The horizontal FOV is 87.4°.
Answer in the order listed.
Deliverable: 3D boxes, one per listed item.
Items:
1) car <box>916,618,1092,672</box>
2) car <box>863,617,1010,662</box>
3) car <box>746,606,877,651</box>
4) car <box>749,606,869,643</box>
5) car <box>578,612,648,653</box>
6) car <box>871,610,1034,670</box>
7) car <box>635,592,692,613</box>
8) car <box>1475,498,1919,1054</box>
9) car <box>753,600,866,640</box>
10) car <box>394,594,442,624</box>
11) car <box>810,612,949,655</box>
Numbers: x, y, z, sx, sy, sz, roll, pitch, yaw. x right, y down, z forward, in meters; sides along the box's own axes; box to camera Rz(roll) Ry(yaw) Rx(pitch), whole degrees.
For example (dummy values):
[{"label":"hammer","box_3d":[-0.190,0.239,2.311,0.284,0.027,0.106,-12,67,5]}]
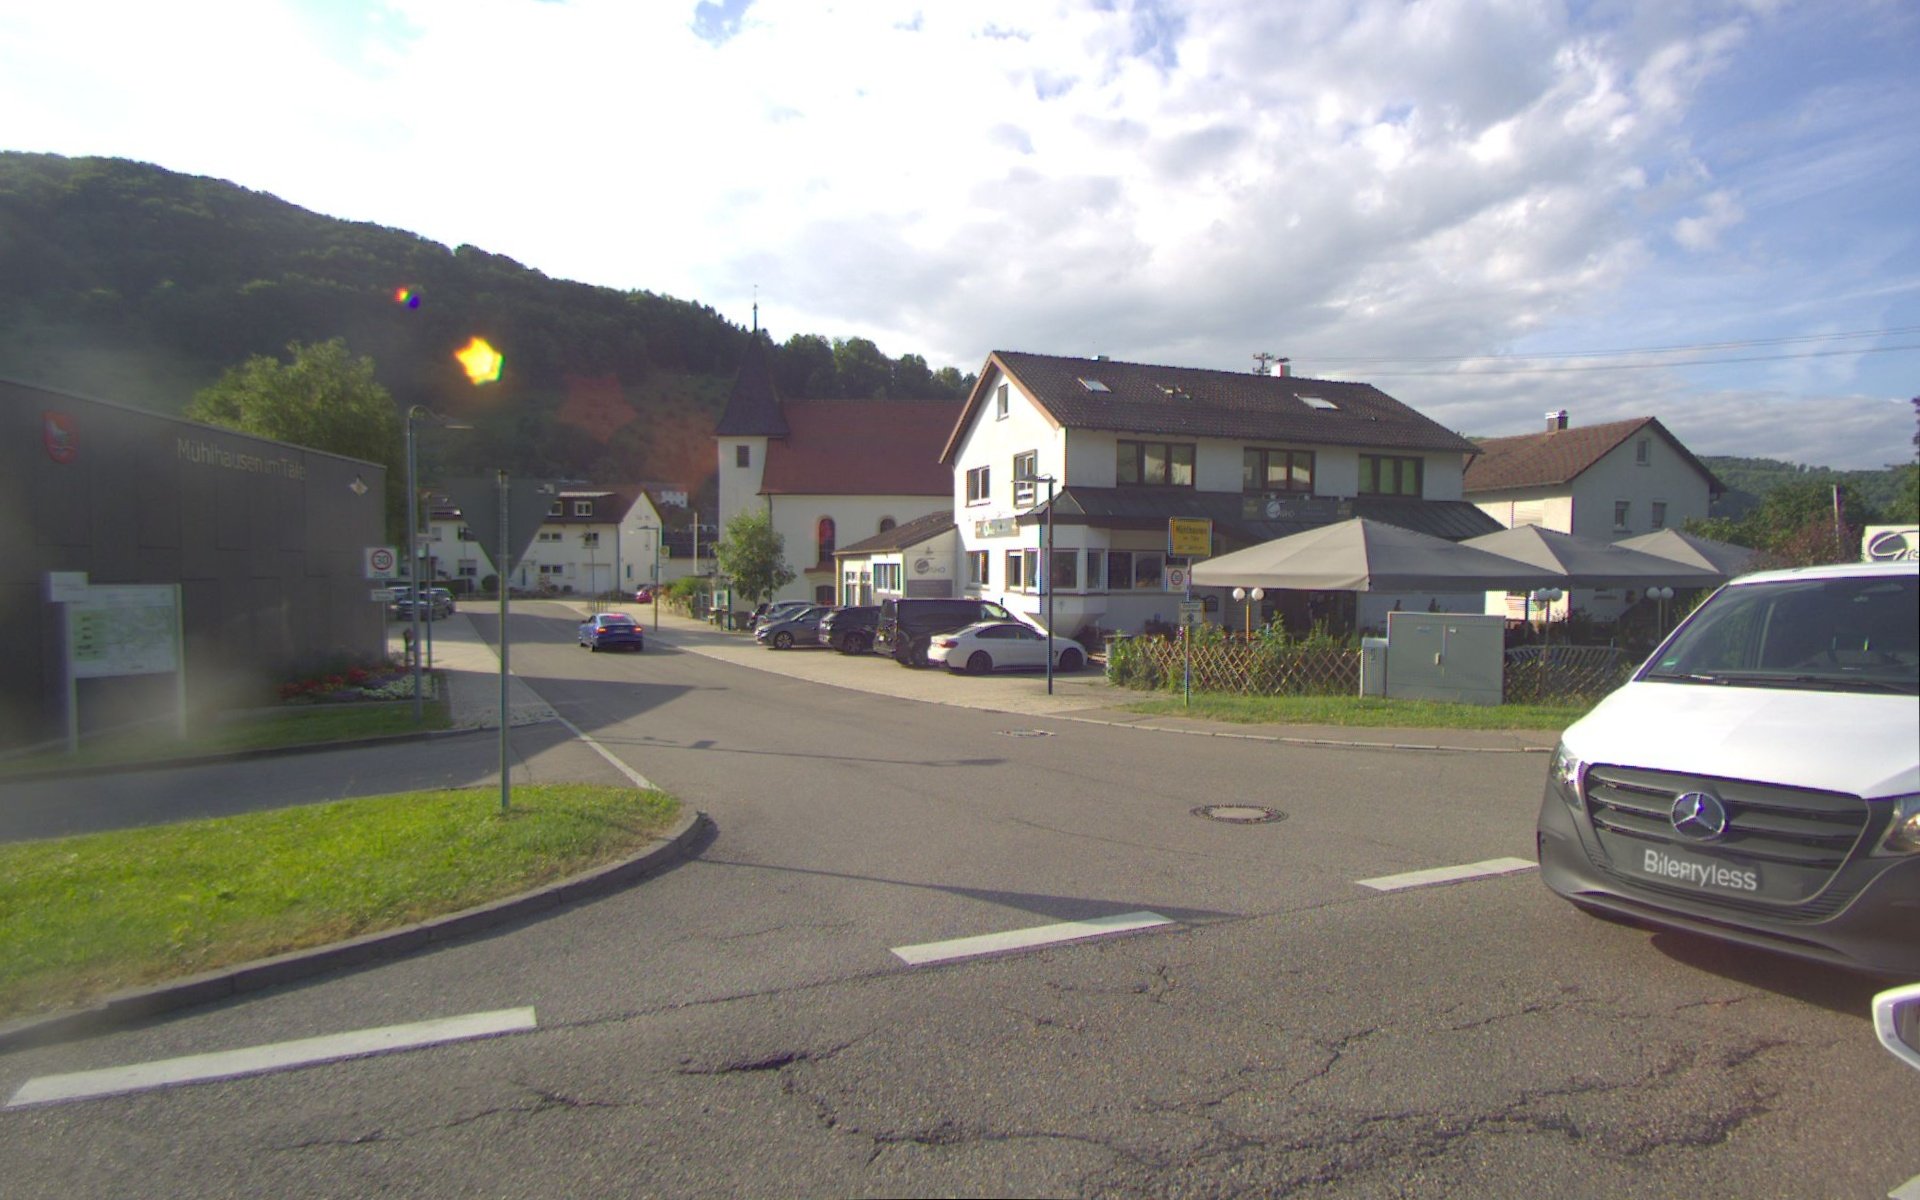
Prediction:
[{"label":"car","box_3d":[1.226,1.233,28.002,4.512,1.408,1.989,1,-1,-24]},{"label":"car","box_3d":[-0.786,1.297,33.504,4.512,1.408,1.989,1,-1,-24]},{"label":"car","box_3d":[-5.578,1.070,37.779,4.512,1.618,1.989,1,-1,-24]},{"label":"car","box_3d":[-6.168,0.999,41.067,4.512,1.431,1.989,1,-1,-24]},{"label":"car","box_3d":[-12.987,1.182,37.445,1.813,1.428,4.196,1,-1,-28]},{"label":"car","box_3d":[-0.234,1.195,30.313,4.512,1.707,1.989,1,-1,-24]},{"label":"car","box_3d":[-22.810,0.193,77.249,3.951,1.528,1.985,0,0,-29]},{"label":"car","box_3d":[5.290,0.641,5.334,5.188,1.929,1.985,0,-1,-29]},{"label":"car","box_3d":[-6.552,0.890,43.695,4.512,1.665,1.989,1,-1,-24]},{"label":"car","box_3d":[-29.252,0.457,54.144,1.978,1.534,3.964,0,0,-33]},{"label":"car","box_3d":[-2.844,1.168,35.537,4.512,1.431,1.989,1,-1,-24]}]
